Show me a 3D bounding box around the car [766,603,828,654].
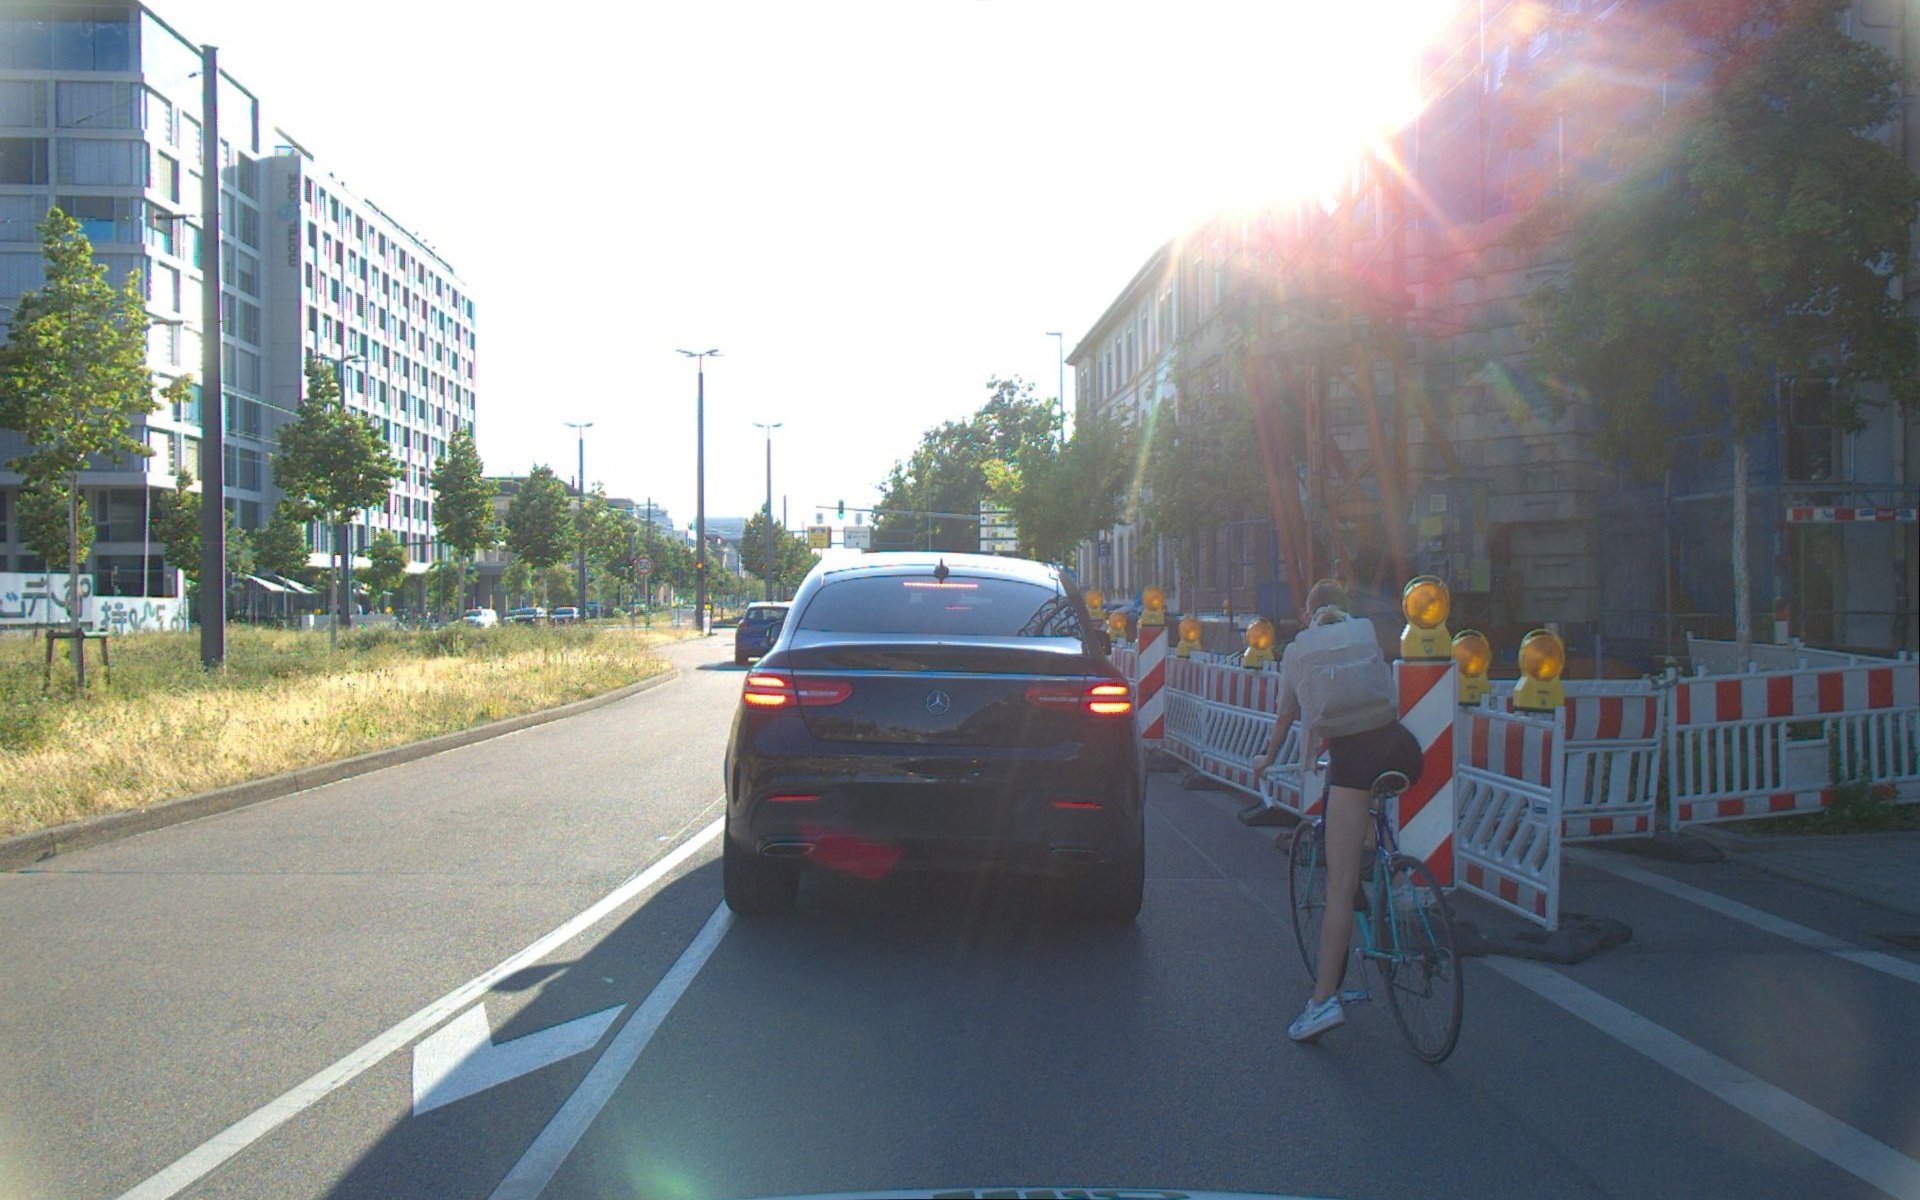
[{"bbox_3d":[-4.862,0.832,49.733,1.674,1.467,3.580,1,0,-3],"label":"car"}]

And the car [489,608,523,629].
[{"bbox_3d":[-33.485,1.333,122.065,1.674,1.467,3.580,1,0,-3],"label":"car"}]

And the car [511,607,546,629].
[{"bbox_3d":[-30.052,1.226,115.258,1.674,1.467,3.580,1,0,-3],"label":"car"}]

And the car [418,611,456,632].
[{"bbox_3d":[-36.962,1.508,116.995,1.674,1.467,3.580,1,0,-3],"label":"car"}]

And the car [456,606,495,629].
[{"bbox_3d":[-32.383,1.168,110.706,1.674,1.467,3.580,1,0,-3],"label":"car"}]

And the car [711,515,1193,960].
[{"bbox_3d":[-0.056,0.576,8.801,1.953,1.803,3.999,1,0,-1],"label":"car"}]

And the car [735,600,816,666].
[{"bbox_3d":[-4.374,0.762,39.588,1.674,1.467,3.580,1,0,-3],"label":"car"}]

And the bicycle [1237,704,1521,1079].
[{"bbox_3d":[1.466,0.972,6.067,0.502,1.070,1.724,1,0,-3],"label":"bicycle"}]

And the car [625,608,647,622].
[{"bbox_3d":[-33.758,1.542,172.442,1.674,1.467,3.580,1,0,-3],"label":"car"}]

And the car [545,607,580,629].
[{"bbox_3d":[-27.456,1.266,114.388,1.674,1.467,3.580,1,0,-3],"label":"car"}]

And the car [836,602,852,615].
[{"bbox_3d":[-12.826,0.937,183.405,1.674,1.467,3.580,1,0,-3],"label":"car"}]

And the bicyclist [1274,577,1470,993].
[{"bbox_3d":[1.472,0.637,5.979,0.512,1.420,0.614,1,-1,-4],"label":"bicyclist"}]
